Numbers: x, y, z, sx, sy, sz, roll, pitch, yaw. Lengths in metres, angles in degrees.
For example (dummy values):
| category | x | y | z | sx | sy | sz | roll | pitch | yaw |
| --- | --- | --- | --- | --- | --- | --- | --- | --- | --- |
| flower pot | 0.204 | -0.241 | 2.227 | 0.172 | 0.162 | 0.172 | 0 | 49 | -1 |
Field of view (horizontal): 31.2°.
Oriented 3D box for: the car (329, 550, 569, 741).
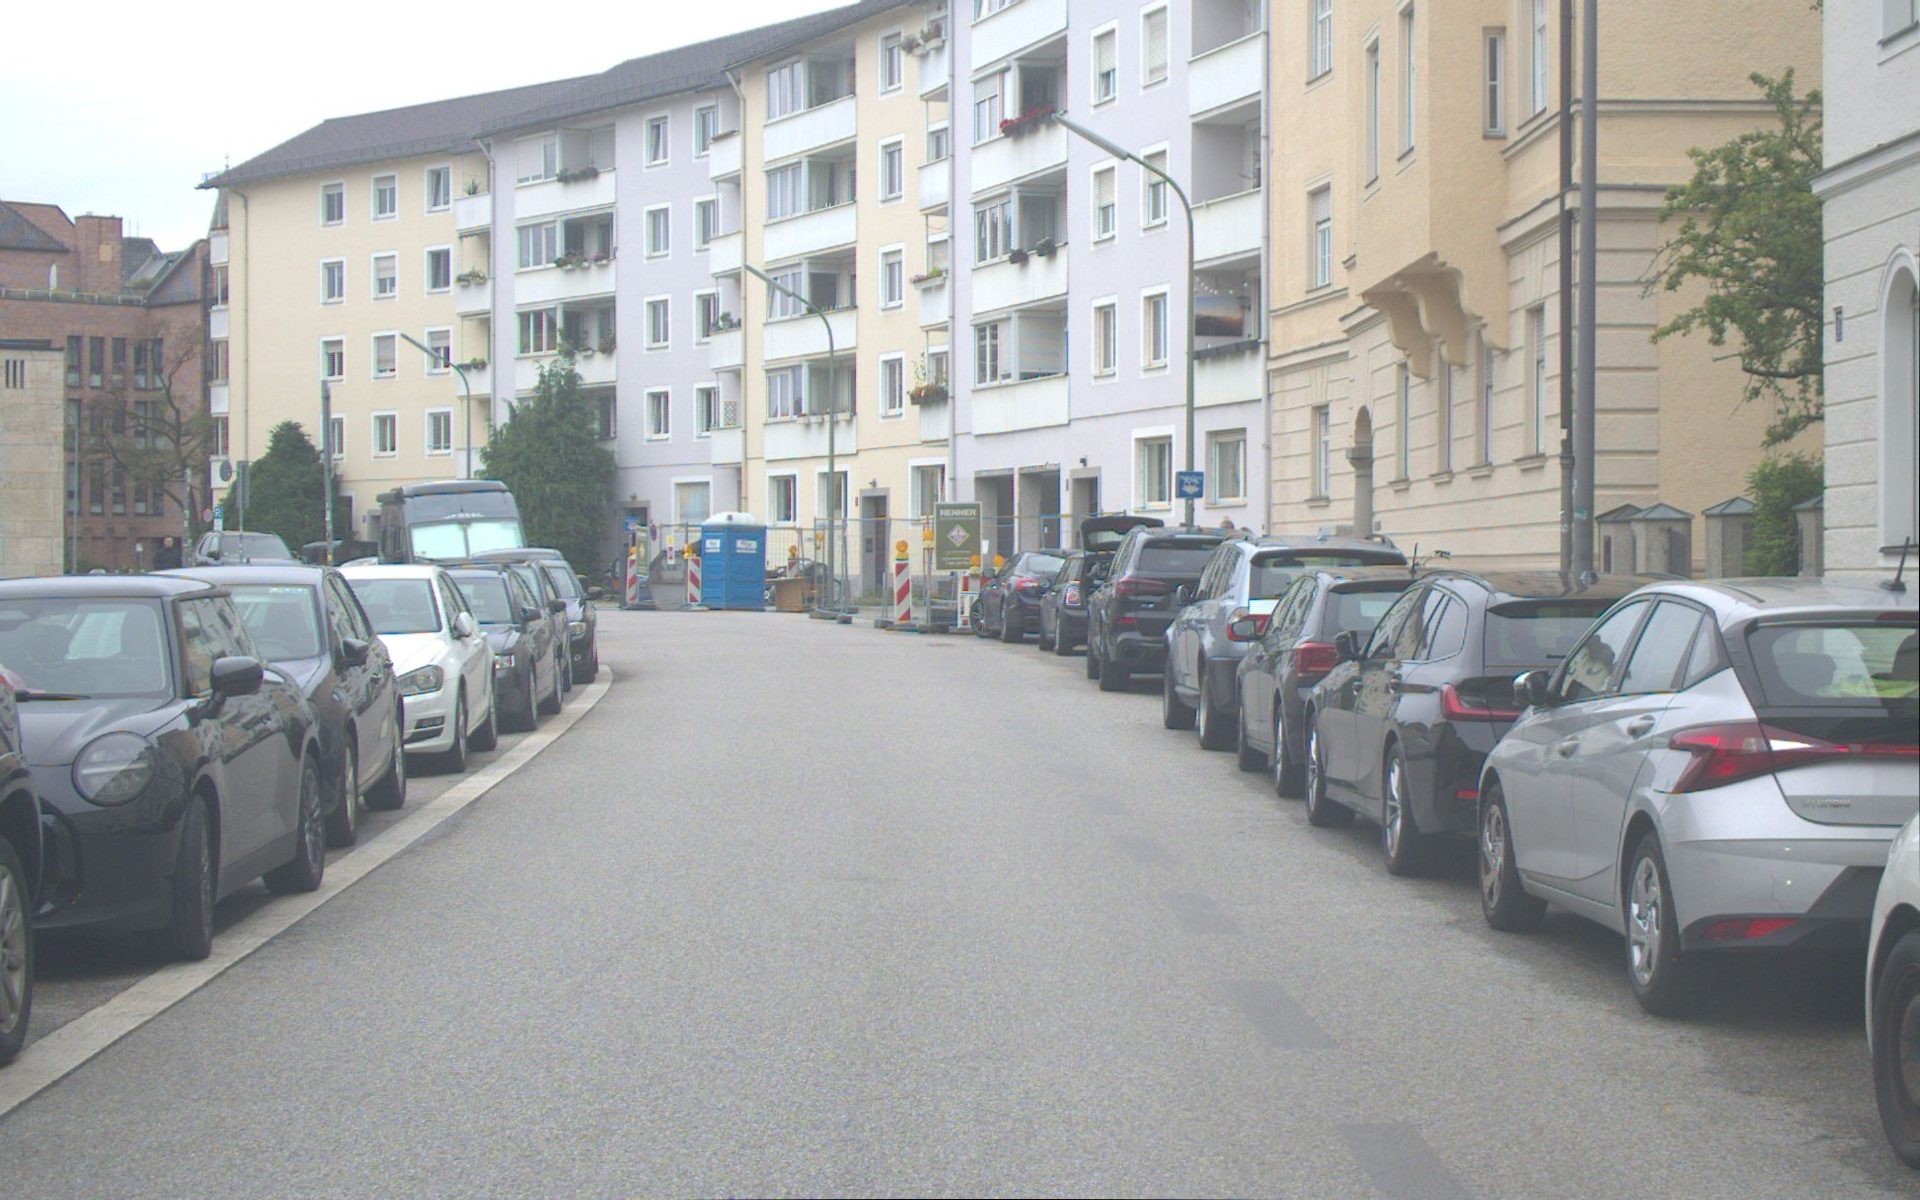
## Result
| category | x | y | z | sx | sy | sz | roll | pitch | yaw |
| --- | --- | --- | --- | --- | --- | --- | --- | --- | --- |
| car | -4.403 | 0.343 | 30.114 | 1.630 | 1.489 | 4.276 | -2 | 1 | -3 |

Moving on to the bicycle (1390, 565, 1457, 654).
| category | x | y | z | sx | sy | sz | roll | pitch | yaw |
| --- | --- | --- | --- | --- | --- | --- | --- | --- | --- |
| bicycle | 5.692 | 0.107 | 42.312 | 0.502 | 1.045 | 2.138 | -3 | 1 | 0 |

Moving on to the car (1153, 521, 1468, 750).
| category | x | y | z | sx | sy | sz | roll | pitch | yaw |
| --- | --- | --- | --- | --- | --- | --- | --- | --- | --- |
| car | 2.705 | 0.229 | 27.525 | 1.846 | 1.658 | 4.499 | 1 | 1 | -2 |

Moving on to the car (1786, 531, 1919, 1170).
| category | x | y | z | sx | sy | sz | roll | pitch | yaw |
| --- | --- | --- | --- | --- | --- | --- | --- | --- | --- |
| car | 3.194 | 0.629 | 7.401 | 1.650 | 1.538 | 3.994 | 1 | 1 | -3 |

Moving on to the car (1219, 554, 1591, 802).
| category | x | y | z | sx | sy | sz | roll | pitch | yaw |
| --- | --- | --- | --- | --- | --- | --- | --- | --- | --- |
| car | 2.817 | 0.441 | 22.603 | 1.827 | 1.445 | 4.084 | 1 | 1 | -1 |

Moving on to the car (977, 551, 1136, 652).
| category | x | y | z | sx | sy | sz | roll | pitch | yaw |
| --- | --- | --- | --- | --- | --- | --- | --- | --- | --- |
| car | 1.468 | -0.011 | 54.256 | 1.908 | 1.472 | 4.947 | 1 | 1 | -5 |

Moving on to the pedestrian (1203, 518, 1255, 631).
| category | x | y | z | sx | sy | sz | roll | pitch | yaw |
| --- | --- | --- | --- | --- | --- | --- | --- | --- | --- |
| pedestrian | 4.121 | -0.387 | 52.723 | 0.617 | 1.684 | 0.919 | -3 | 0 | -1 |

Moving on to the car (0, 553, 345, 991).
| category | x | y | z | sx | sy | sz | roll | pitch | yaw |
| --- | --- | --- | --- | --- | --- | --- | --- | --- | --- |
| car | -3.623 | 0.589 | 13.794 | 1.631 | 1.489 | 3.820 | -2 | 1 | -1 |

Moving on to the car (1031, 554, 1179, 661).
| category | x | y | z | sx | sy | sz | roll | pitch | yaw |
| --- | --- | --- | --- | --- | --- | --- | --- | --- | --- |
| car | 1.991 | 0.075 | 47.994 | 1.630 | 1.412 | 3.680 | 1 | 1 | -4 |

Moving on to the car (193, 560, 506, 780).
| category | x | y | z | sx | sy | sz | roll | pitch | yaw |
| --- | --- | --- | --- | --- | --- | --- | --- | --- | --- |
| car | -4.298 | 0.436 | 24.782 | 1.740 | 1.417 | 4.295 | 1 | 1 | -4 |

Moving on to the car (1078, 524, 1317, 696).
| category | x | y | z | sx | sy | sz | roll | pitch | yaw |
| --- | --- | --- | --- | --- | --- | --- | --- | --- | --- |
| car | 2.524 | 0.067 | 37.788 | 2.170 | 1.733 | 5.024 | 1 | 1 | -1 |

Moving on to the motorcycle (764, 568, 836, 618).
| category | x | y | z | sx | sy | sz | roll | pitch | yaw |
| --- | --- | --- | --- | --- | --- | --- | --- | --- | --- |
| motorcycle | -4.043 | -0.183 | 86.567 | 0.931 | 1.217 | 2.507 | 0 | 0 | -25 |

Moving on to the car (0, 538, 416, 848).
| category | x | y | z | sx | sy | sz | roll | pitch | yaw |
| --- | --- | --- | --- | --- | --- | --- | --- | --- | --- |
| car | -4.021 | 0.419 | 18.811 | 1.630 | 1.489 | 4.101 | 1 | 1 | -3 |

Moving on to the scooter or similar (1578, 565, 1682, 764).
| category | x | y | z | sx | sy | sz | roll | pitch | yaw |
| --- | --- | --- | --- | --- | --- | --- | --- | --- | --- |
| scooter or similar | 4.256 | 0.397 | 21.867 | 0.427 | 1.226 | 1.047 | 1 | 1 | -1 |

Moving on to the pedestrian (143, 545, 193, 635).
| category | x | y | z | sx | sy | sz | roll | pitch | yaw |
| --- | --- | --- | --- | --- | --- | --- | --- | --- | --- |
| pedestrian | -16.632 | -0.212 | 72.183 | 0.842 | 1.860 | 0.714 | 0 | 0 | -29 |

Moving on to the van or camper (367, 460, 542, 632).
| category | x | y | z | sx | sy | sz | roll | pitch | yaw |
| --- | --- | --- | --- | --- | --- | --- | --- | --- | --- |
| van or camper | -8.171 | -0.875 | 55.119 | 2.296 | 2.572 | 6.087 | 1 | 1 | -13 |

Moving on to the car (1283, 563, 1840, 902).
| category | x | y | z | sx | sy | sz | roll | pitch | yaw |
| --- | --- | --- | --- | --- | --- | --- | --- | --- | --- |
| car | 2.874 | 0.561 | 17.509 | 1.875 | 1.445 | 4.678 | 1 | 1 | -2 |

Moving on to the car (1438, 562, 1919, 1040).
| category | x | y | z | sx | sy | sz | roll | pitch | yaw |
| --- | --- | --- | --- | --- | --- | --- | --- | --- | --- |
| car | 3.020 | 0.607 | 12.703 | 1.724 | 1.445 | 4.188 | 1 | 1 | -3 |

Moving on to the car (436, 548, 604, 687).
| category | x | y | z | sx | sy | sz | roll | pitch | yaw |
| --- | --- | --- | --- | --- | --- | --- | --- | --- | --- |
| car | -5.070 | 0.159 | 40.023 | 1.773 | 1.460 | 4.467 | -2 | 1 | -6 |

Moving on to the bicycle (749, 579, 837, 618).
| category | x | y | z | sx | sy | sz | roll | pitch | yaw |
| --- | --- | --- | --- | --- | --- | --- | --- | --- | --- |
| bicycle | -4.595 | -0.040 | 94.583 | 2.232 | 1.066 | 0.919 | 0 | 0 | -25 |

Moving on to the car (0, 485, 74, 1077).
| category | x | y | z | sx | sy | sz | roll | pitch | yaw |
| --- | --- | --- | --- | --- | --- | --- | --- | --- | --- |
| car | -3.582 | 0.553 | 8.540 | 1.714 | 1.684 | 4.141 | -1 | 1 | -1 |
